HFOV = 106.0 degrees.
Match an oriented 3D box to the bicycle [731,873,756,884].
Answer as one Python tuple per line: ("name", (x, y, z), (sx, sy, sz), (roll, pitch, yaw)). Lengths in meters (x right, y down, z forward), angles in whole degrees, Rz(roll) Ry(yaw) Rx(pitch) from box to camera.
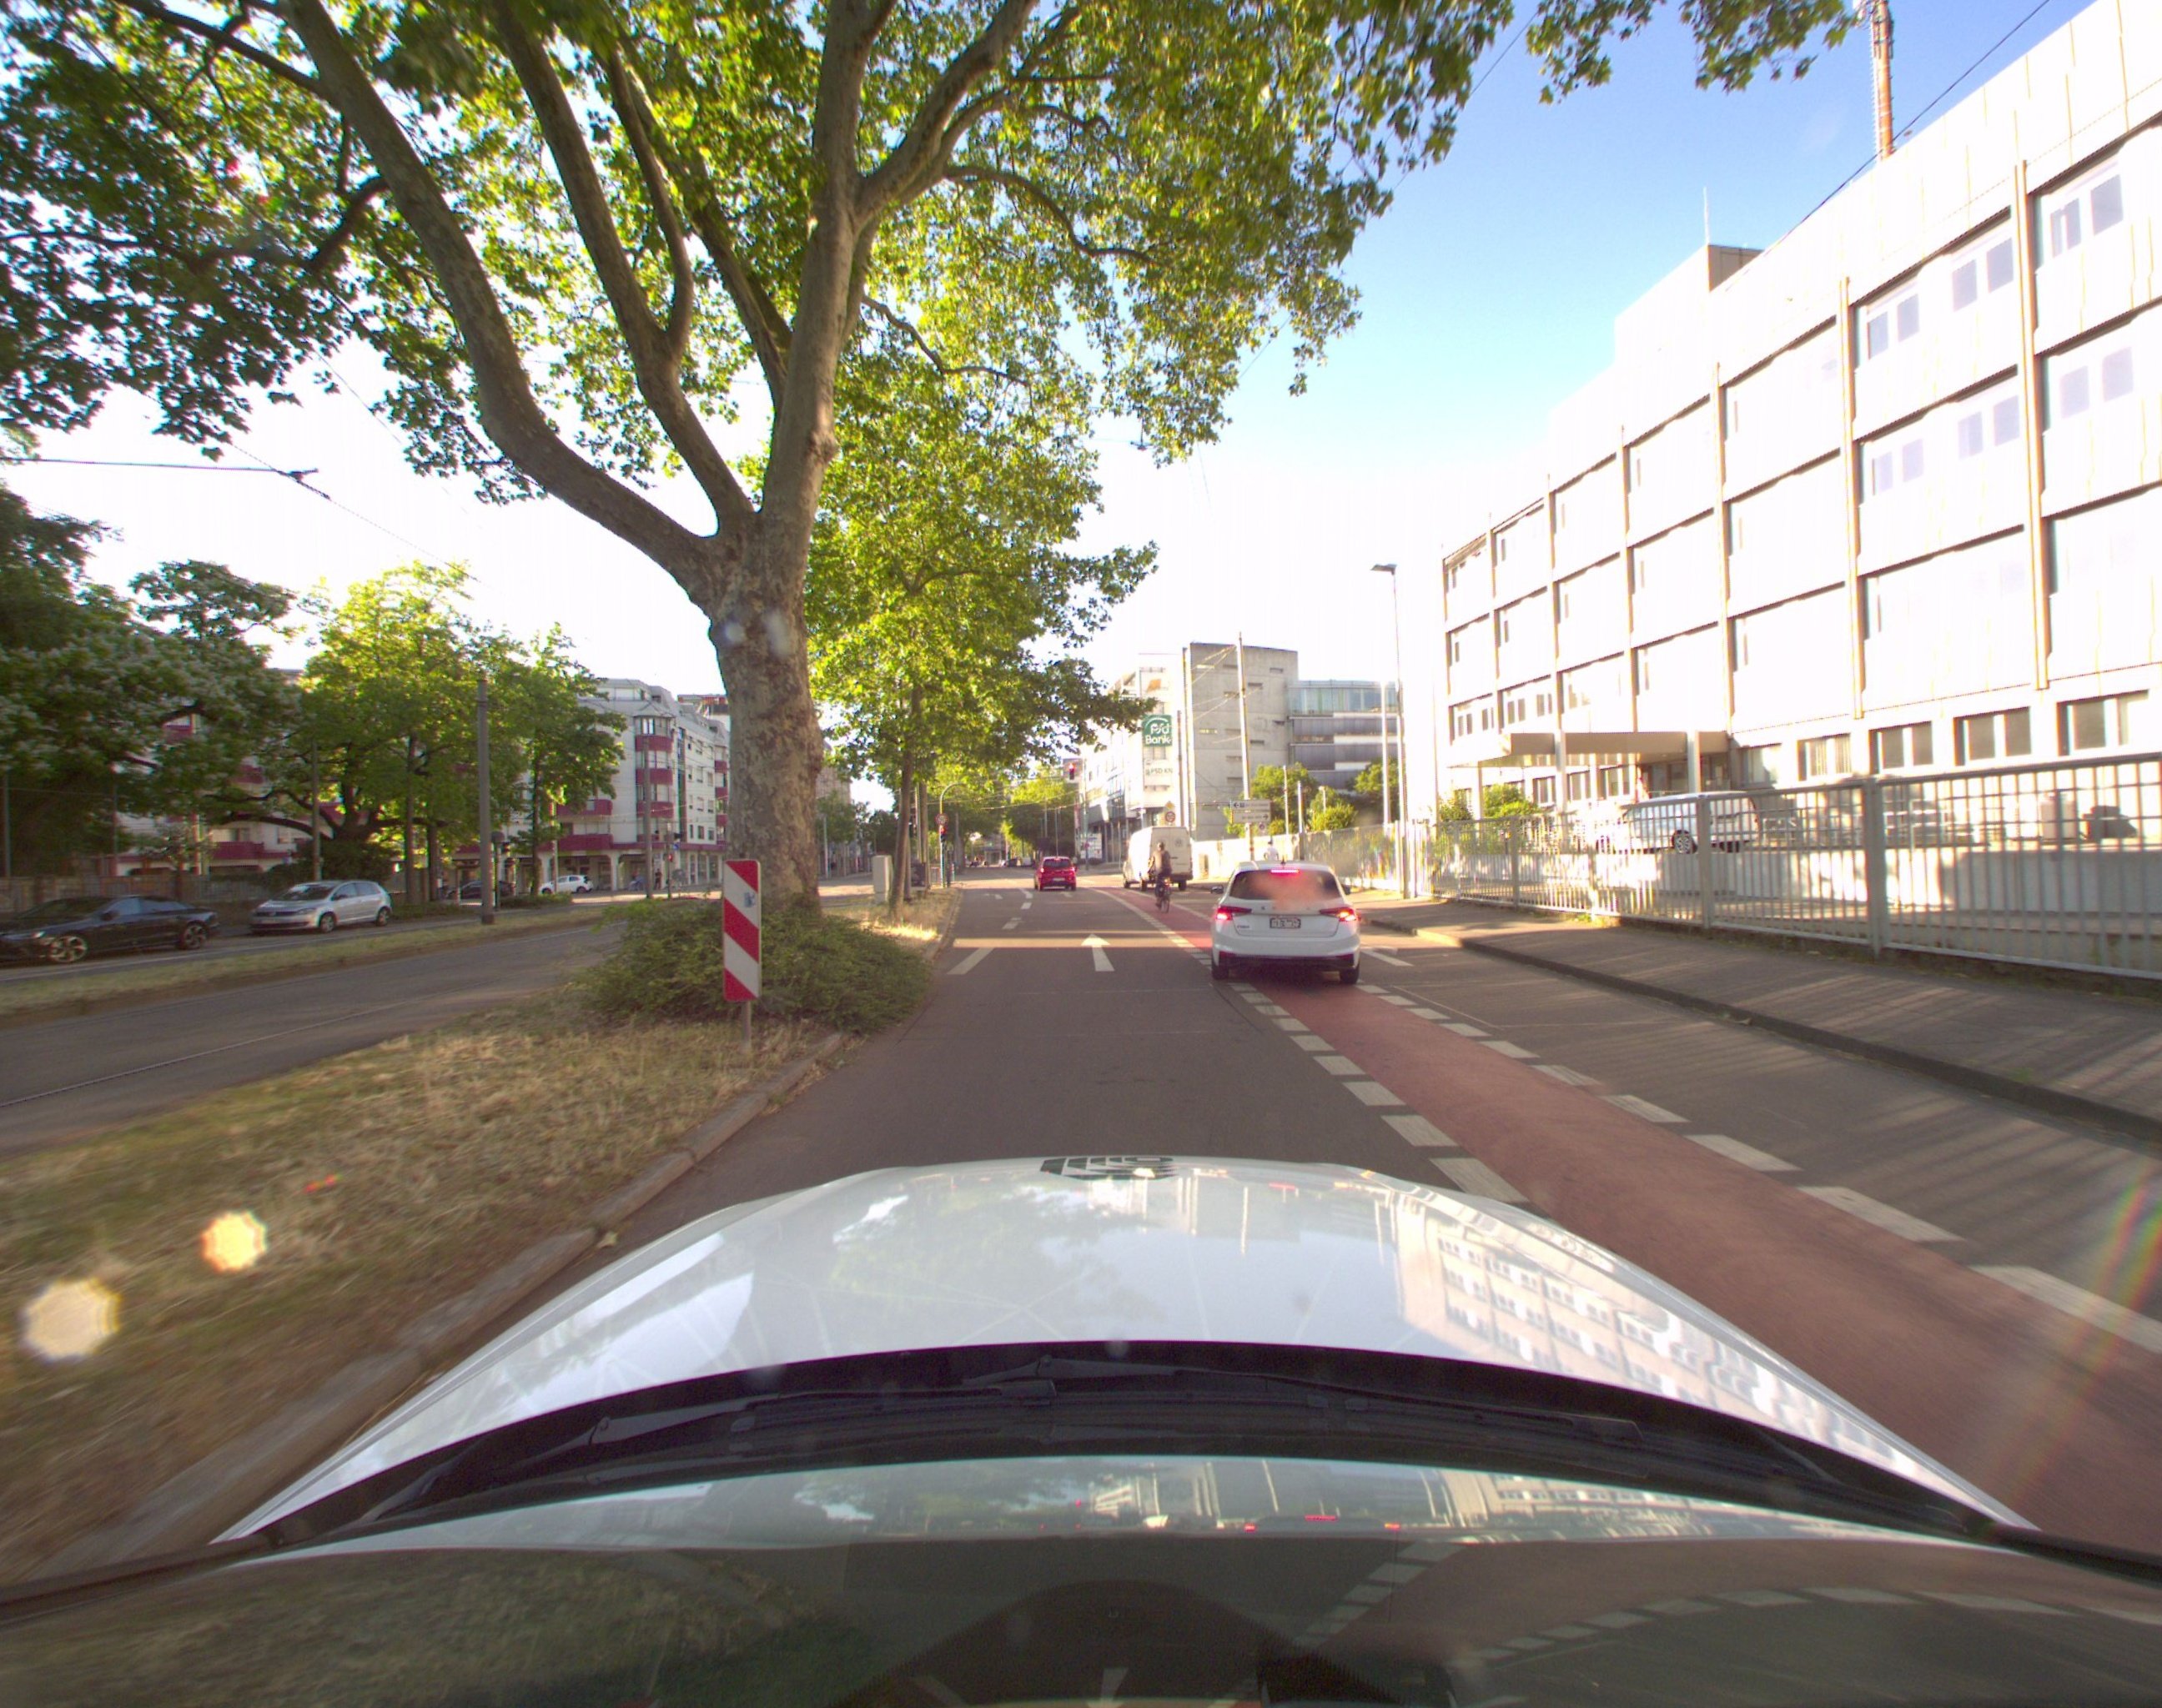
("bicycle", (-33.183, 2.389, 80.085), (2.171, 0.951, 0.490), (-2, 0, -12))

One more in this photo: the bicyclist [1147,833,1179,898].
("bicyclist", (2.130, 0.286, 21.229), (0.741, 1.669, 0.744), (0, 0, -2))

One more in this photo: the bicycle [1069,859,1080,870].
("bicycle", (-0.714, 1.126, 86.313), (0.792, 1.161, 2.491), (-2, 0, -10))

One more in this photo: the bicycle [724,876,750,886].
("bicycle", (-32.987, 2.581, 78.094), (2.171, 0.787, 0.490), (-2, 0, -12))

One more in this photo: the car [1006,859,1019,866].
("car", (-15.148, 1.919, 180.443), (2.478, 1.528, 4.416), (-3, 0, -10))

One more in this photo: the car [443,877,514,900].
("car", (-46.245, 2.616, 62.599), (4.001, 1.464, 1.789), (-3, 0, -21))

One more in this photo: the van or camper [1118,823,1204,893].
("van or camper", (3.282, 0.181, 34.997), (2.267, 2.733, 6.329), (0, 0, -8))

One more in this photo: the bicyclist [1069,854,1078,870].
("bicyclist", (-0.766, 0.875, 86.617), (0.785, 1.635, 0.636), (-2, 0, -11))

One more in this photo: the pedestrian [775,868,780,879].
("pedestrian", (-40.001, 2.583, 107.376), (0.510, 1.459, 0.527), (-2, 0, -6))

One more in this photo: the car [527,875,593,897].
("car", (-41.171, 2.501, 64.475), (4.001, 1.464, 1.789), (-3, 0, -20))

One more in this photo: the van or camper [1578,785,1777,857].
("van or camper", (18.187, -0.925, 25.225), (1.980, 1.908, 4.984), (-3, 0, -9))

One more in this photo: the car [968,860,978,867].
("car", (-26.583, 2.234, 200.287), (2.060, 1.654, 3.476), (-3, 0, -13))

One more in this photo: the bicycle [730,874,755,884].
("bicycle", (-33.047, 2.430, 79.456), (2.171, 0.824, 0.526), (-2, 0, -12))

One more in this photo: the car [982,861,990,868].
("car", (-24.202, 2.744, 207.399), (1.657, 1.607, 3.520), (-3, 0, -9))

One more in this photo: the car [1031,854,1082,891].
("car", (-1.160, 0.808, 36.261), (1.838, 1.489, 3.706), (-2, 0, -8))

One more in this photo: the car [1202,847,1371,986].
("car", (2.545, 0.683, 10.930), (1.792, 1.501, 3.990), (0, 0, 8))

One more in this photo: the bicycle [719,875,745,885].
("bicycle", (-33.137, 2.457, 77.304), (2.171, 0.787, 0.638), (-2, 0, -12))

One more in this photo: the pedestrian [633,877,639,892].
("pedestrian", (-36.580, 2.532, 67.006), (0.304, 1.214, 0.317), (-3, 0, -14))

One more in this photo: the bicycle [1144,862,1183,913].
("bicycle", (2.136, 0.848, 21.273), (0.742, 1.224, 2.154), (0, 0, -2))

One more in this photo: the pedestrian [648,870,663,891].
("pedestrian", (-34.408, 2.111, 65.869), (0.709, 1.662, 1.029), (-3, 0, -13))

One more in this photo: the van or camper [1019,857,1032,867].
("van or camper", (-11.003, 1.558, 161.077), (2.146, 1.750, 4.414), (-3, 0, -11))

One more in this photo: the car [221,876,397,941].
("car", (-23.912, 1.615, 25.482), (1.994, 1.689, 4.163), (-2, 0, -10))

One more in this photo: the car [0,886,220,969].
("car", (-22.505, 1.572, 18.246), (1.994, 1.476, 4.633), (-2, 0, -10))

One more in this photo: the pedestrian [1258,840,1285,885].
("pedestrian", (7.682, 0.338, 32.908), (0.785, 1.748, 0.770), (-3, 0, -8))

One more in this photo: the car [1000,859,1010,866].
("car", (-18.875, 2.083, 202.290), (1.886, 1.528, 4.414), (-3, 0, -11))
